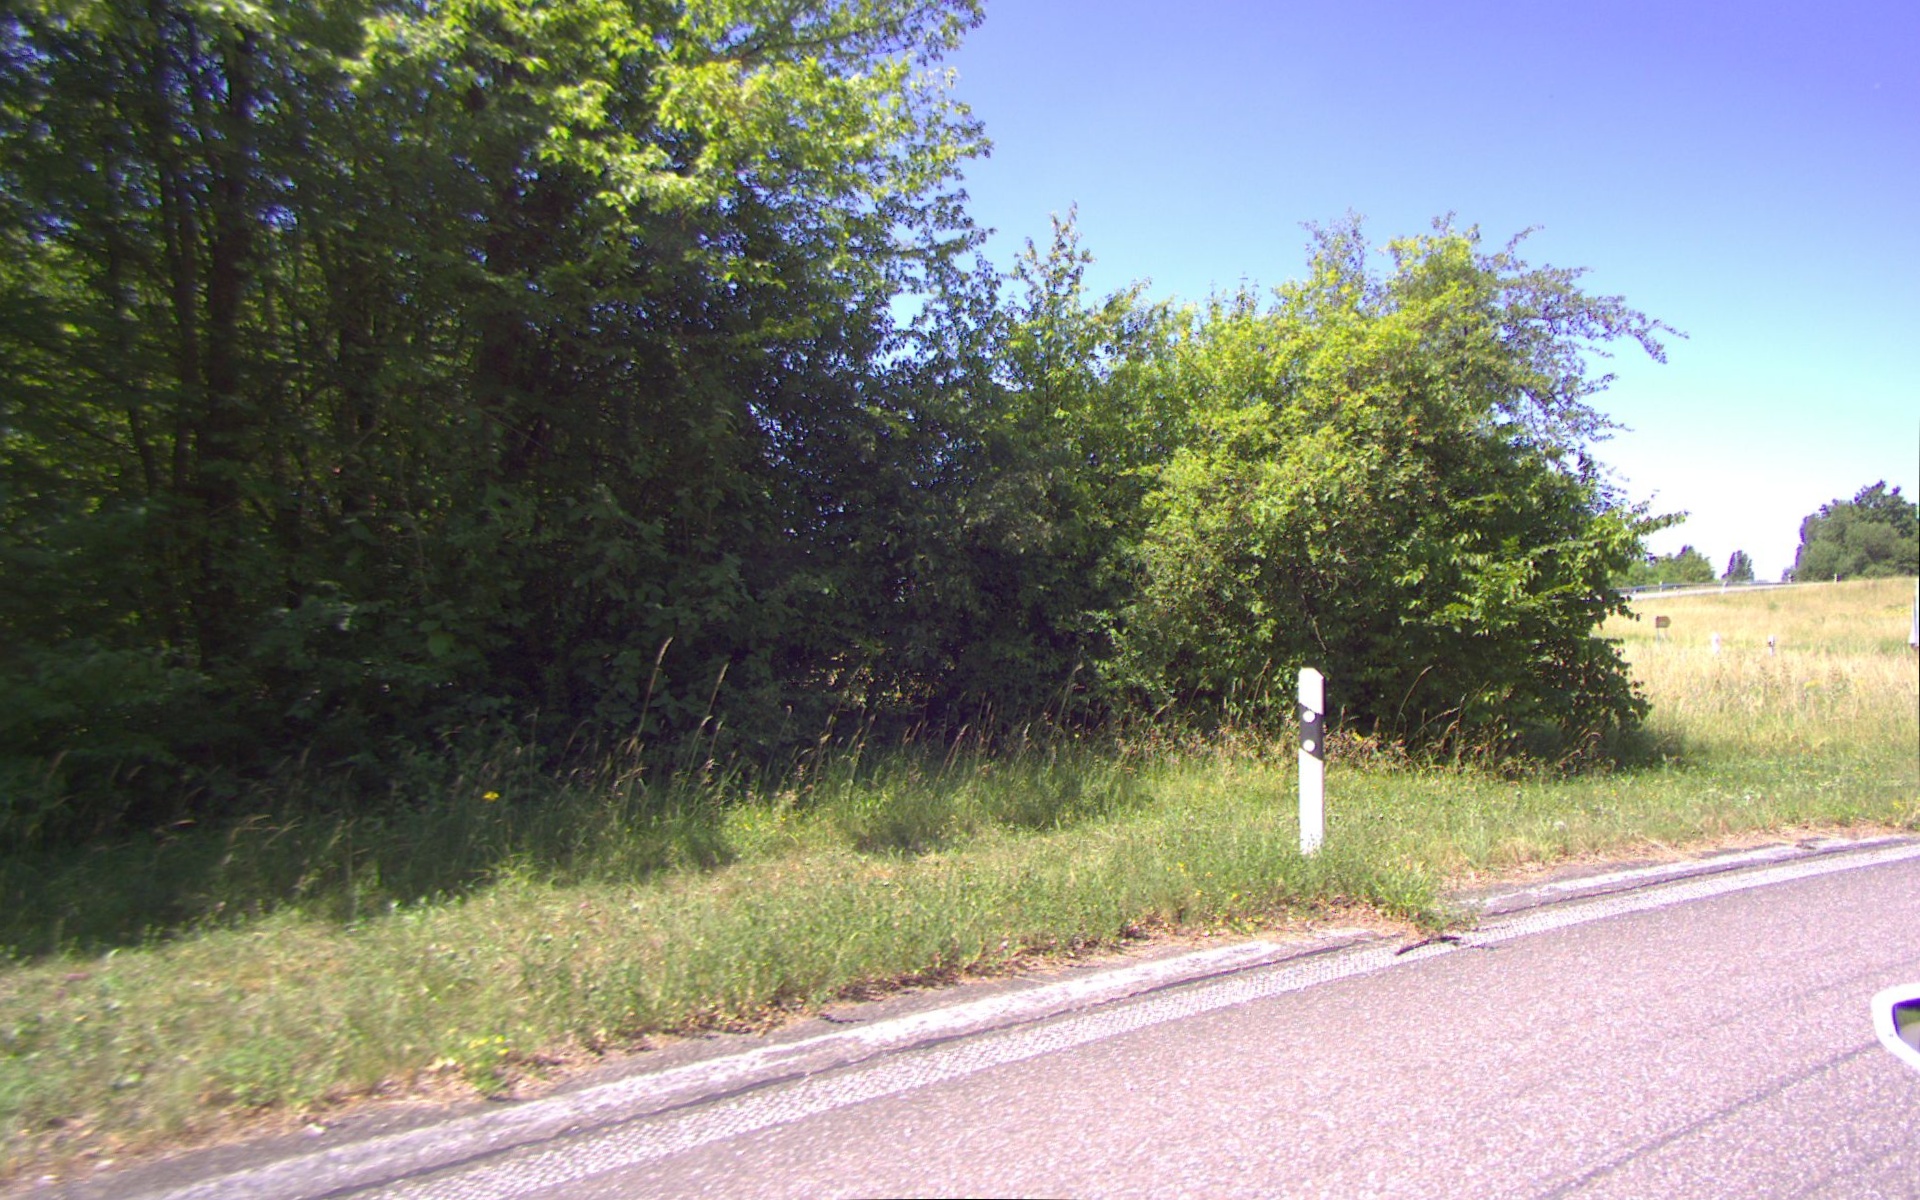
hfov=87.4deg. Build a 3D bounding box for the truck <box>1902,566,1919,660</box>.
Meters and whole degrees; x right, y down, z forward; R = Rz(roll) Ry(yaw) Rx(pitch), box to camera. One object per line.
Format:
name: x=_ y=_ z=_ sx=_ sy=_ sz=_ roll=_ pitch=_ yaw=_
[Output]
truck: x=33.444 y=0.401 z=31.384 sx=5.812 sy=3.024 sz=2.235 roll=-1 pitch=-1 yaw=43
